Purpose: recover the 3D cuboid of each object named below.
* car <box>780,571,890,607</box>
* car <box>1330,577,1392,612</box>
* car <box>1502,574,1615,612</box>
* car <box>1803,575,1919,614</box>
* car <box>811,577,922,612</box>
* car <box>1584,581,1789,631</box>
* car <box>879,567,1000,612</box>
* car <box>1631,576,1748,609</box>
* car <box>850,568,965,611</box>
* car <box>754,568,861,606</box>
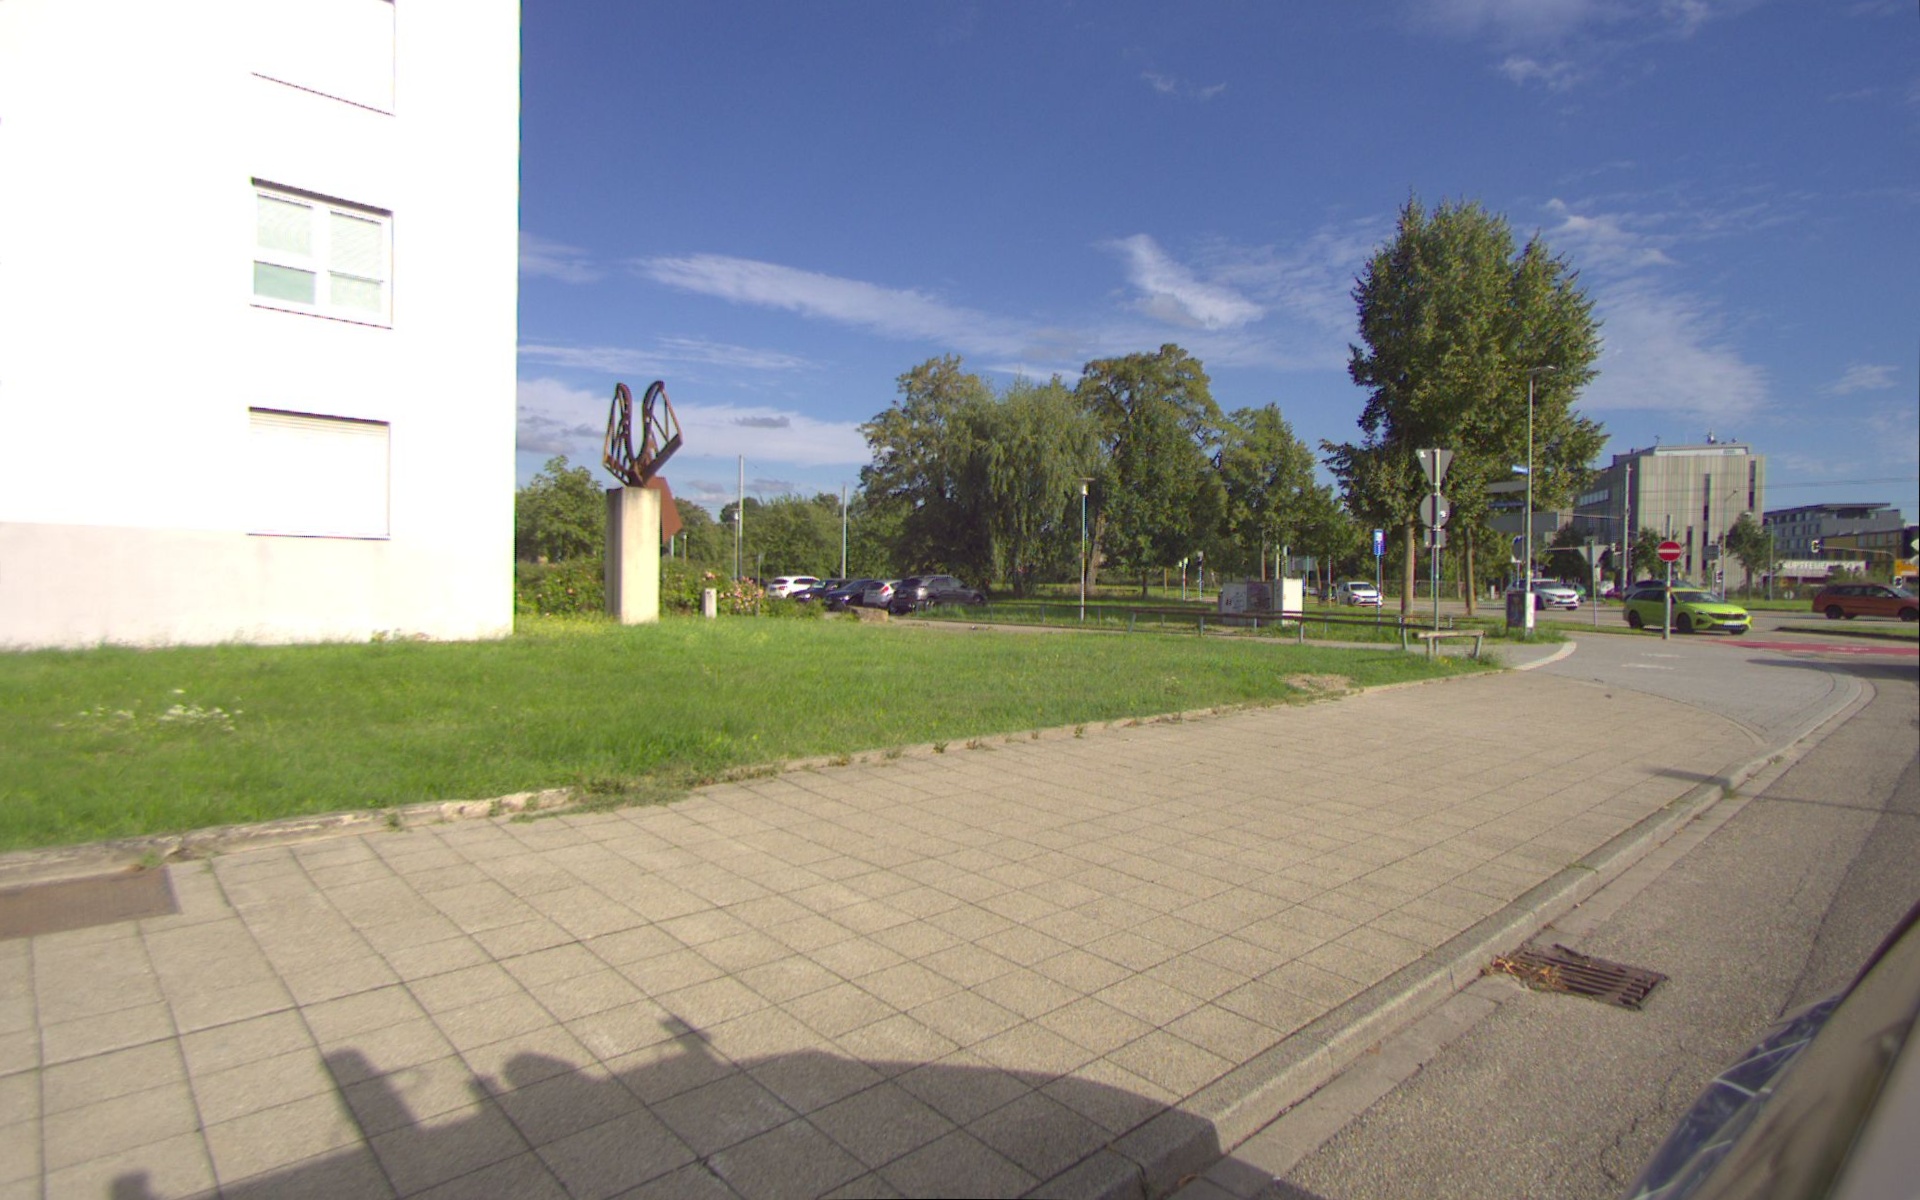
[{"bbox_3d":[-5.972,-0.550,48.752,4.824,1.616,2.271,-1,1,-39],"label":"car"},{"bbox_3d":[22.649,-0.359,57.415,1.807,1.890,5.397,0,1,5],"label":"car"},{"bbox_3d":[31.141,-0.401,52.960,2.433,1.890,6.248,0,1,3],"label":"car"},{"bbox_3d":[38.100,-0.258,41.554,2.260,1.543,4.875,-1,1,-29],"label":"car"},{"bbox_3d":[-4.320,-0.304,47.048,4.824,1.518,2.085,-1,1,-39],"label":"car"},{"bbox_3d":[24.035,0.126,33.873,2.001,1.487,5.997,-1,1,-7],"label":"car"},{"bbox_3d":[-0.830,-0.469,43.032,4.825,1.822,2.270,-1,1,-41],"label":"car"},{"bbox_3d":[35.104,-0.403,48.850,1.958,1.504,4.273,0,1,-14],"label":"car"},{"bbox_3d":[-2.318,-0.511,45.317,4.706,1.822,2.271,-1,1,-39],"label":"car"},{"bbox_3d":[-7.662,-0.684,50.988,4.824,1.822,2.357,-1,1,-39],"label":"car"}]
